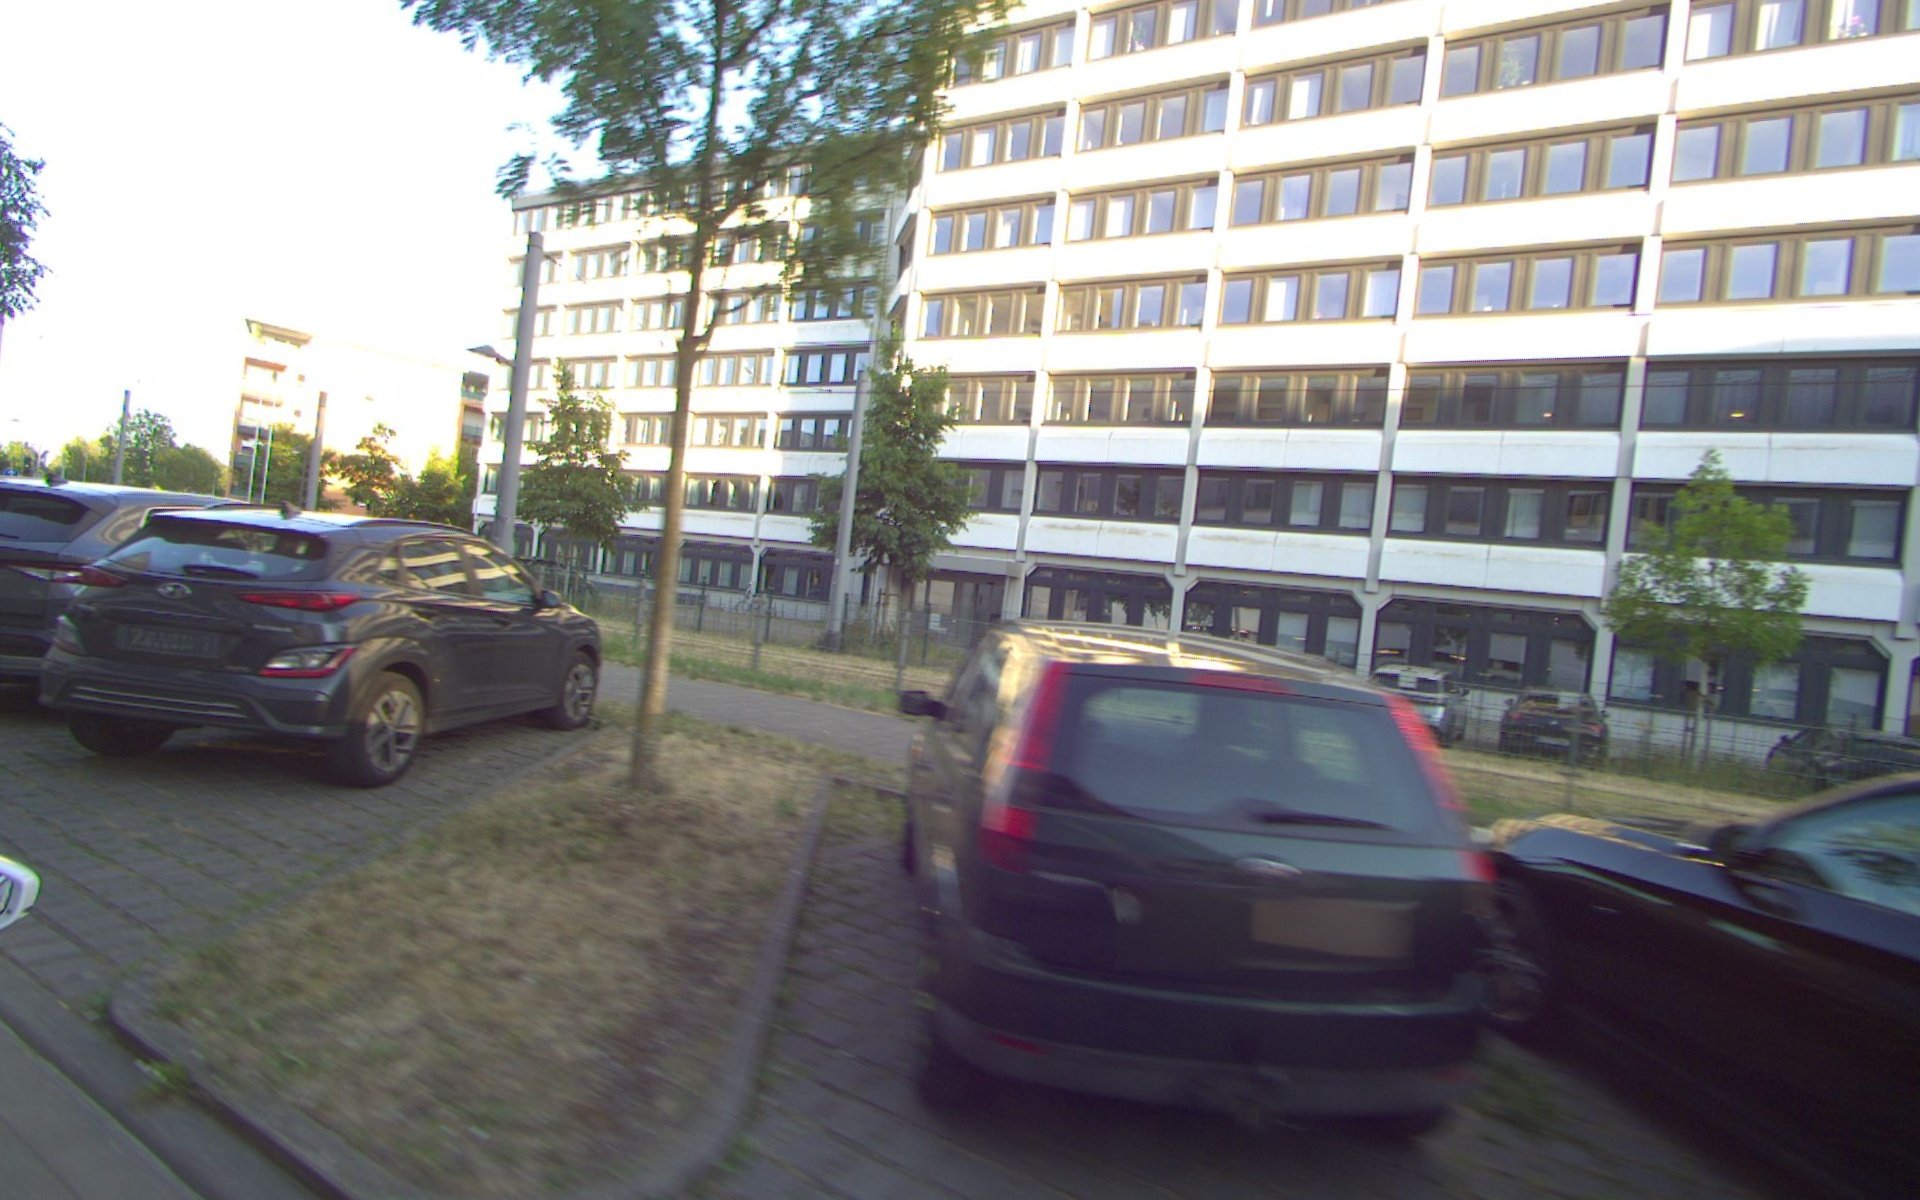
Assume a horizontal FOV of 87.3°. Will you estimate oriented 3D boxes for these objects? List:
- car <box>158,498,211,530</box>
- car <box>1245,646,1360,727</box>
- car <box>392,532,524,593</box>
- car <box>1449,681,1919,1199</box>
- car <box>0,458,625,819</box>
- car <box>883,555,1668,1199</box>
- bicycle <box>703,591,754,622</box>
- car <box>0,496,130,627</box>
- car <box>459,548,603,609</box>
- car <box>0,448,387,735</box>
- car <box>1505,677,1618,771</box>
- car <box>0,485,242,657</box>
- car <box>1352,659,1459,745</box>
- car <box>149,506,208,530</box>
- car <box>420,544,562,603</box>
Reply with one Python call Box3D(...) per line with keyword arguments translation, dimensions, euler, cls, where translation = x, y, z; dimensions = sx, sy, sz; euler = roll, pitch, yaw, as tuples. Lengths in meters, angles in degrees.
Box3D(translation=(-79.557, -8.809, 103.263), dimensions=(4.132, 2.615, 1.686), euler=(7, 0, -37), cls="car")
Box3D(translation=(7.628, 1.959, 22.178), dimensions=(1.564, 1.413, 3.999), euler=(7, -3, 29), cls="car")
Box3D(translation=(-21.015, -1.535, 42.333), dimensions=(1.900, 1.960, 4.501), euler=(7, -1, 32), cls="car")
Box3D(translation=(3.098, 1.148, 2.421), dimensions=(1.610, 1.482, 3.778), euler=(8, -2, -4), cls="car")
Box3D(translation=(-4.161, 0.174, 7.086), dimensions=(1.936, 1.661, 3.986), euler=(6, 1, 4), cls="car")
Box3D(translation=(0.632, 0.795, 4.264), dimensions=(1.732, 1.459, 3.778), euler=(8, -2, -4), cls="car")
Box3D(translation=(-11.332, 0.315, 49.256), dimensions=(2.391, 1.214, 0.830), euler=(7, -3, 31), cls="bicycle")
Box3D(translation=(-12.044, -0.572, 11.639), dimensions=(1.657, 1.526, 3.756), euler=(8, -2, -1), cls="car")
Box3D(translation=(-15.288, -0.710, 36.086), dimensions=(1.665, 1.621, 4.503), euler=(7, -1, 31), cls="car")
Box3D(translation=(-6.646, -0.096, 8.123), dimensions=(1.732, 1.745, 3.780), euler=(8, -2, -1), cls="car")
Box3D(translation=(11.570, 2.399, 19.533), dimensions=(1.564, 1.413, 3.999), euler=(7, -3, 29), cls="car")
Box3D(translation=(-9.492, -0.362, 9.851), dimensions=(1.920, 1.528, 3.931), euler=(7, 1, 1), cls="car")
Box3D(translation=(9.372, 2.164, 20.986), dimensions=(1.564, 1.413, 3.999), euler=(7, -3, 29), cls="car")
Box3D(translation=(-73.004, -7.668, 94.066), dimensions=(4.128, 1.595, 1.688), euler=(8, -1, -34), cls="car")
Box3D(translation=(-17.316, -0.942, 37.364), dimensions=(1.665, 1.621, 4.503), euler=(7, -1, 31), cls="car")
